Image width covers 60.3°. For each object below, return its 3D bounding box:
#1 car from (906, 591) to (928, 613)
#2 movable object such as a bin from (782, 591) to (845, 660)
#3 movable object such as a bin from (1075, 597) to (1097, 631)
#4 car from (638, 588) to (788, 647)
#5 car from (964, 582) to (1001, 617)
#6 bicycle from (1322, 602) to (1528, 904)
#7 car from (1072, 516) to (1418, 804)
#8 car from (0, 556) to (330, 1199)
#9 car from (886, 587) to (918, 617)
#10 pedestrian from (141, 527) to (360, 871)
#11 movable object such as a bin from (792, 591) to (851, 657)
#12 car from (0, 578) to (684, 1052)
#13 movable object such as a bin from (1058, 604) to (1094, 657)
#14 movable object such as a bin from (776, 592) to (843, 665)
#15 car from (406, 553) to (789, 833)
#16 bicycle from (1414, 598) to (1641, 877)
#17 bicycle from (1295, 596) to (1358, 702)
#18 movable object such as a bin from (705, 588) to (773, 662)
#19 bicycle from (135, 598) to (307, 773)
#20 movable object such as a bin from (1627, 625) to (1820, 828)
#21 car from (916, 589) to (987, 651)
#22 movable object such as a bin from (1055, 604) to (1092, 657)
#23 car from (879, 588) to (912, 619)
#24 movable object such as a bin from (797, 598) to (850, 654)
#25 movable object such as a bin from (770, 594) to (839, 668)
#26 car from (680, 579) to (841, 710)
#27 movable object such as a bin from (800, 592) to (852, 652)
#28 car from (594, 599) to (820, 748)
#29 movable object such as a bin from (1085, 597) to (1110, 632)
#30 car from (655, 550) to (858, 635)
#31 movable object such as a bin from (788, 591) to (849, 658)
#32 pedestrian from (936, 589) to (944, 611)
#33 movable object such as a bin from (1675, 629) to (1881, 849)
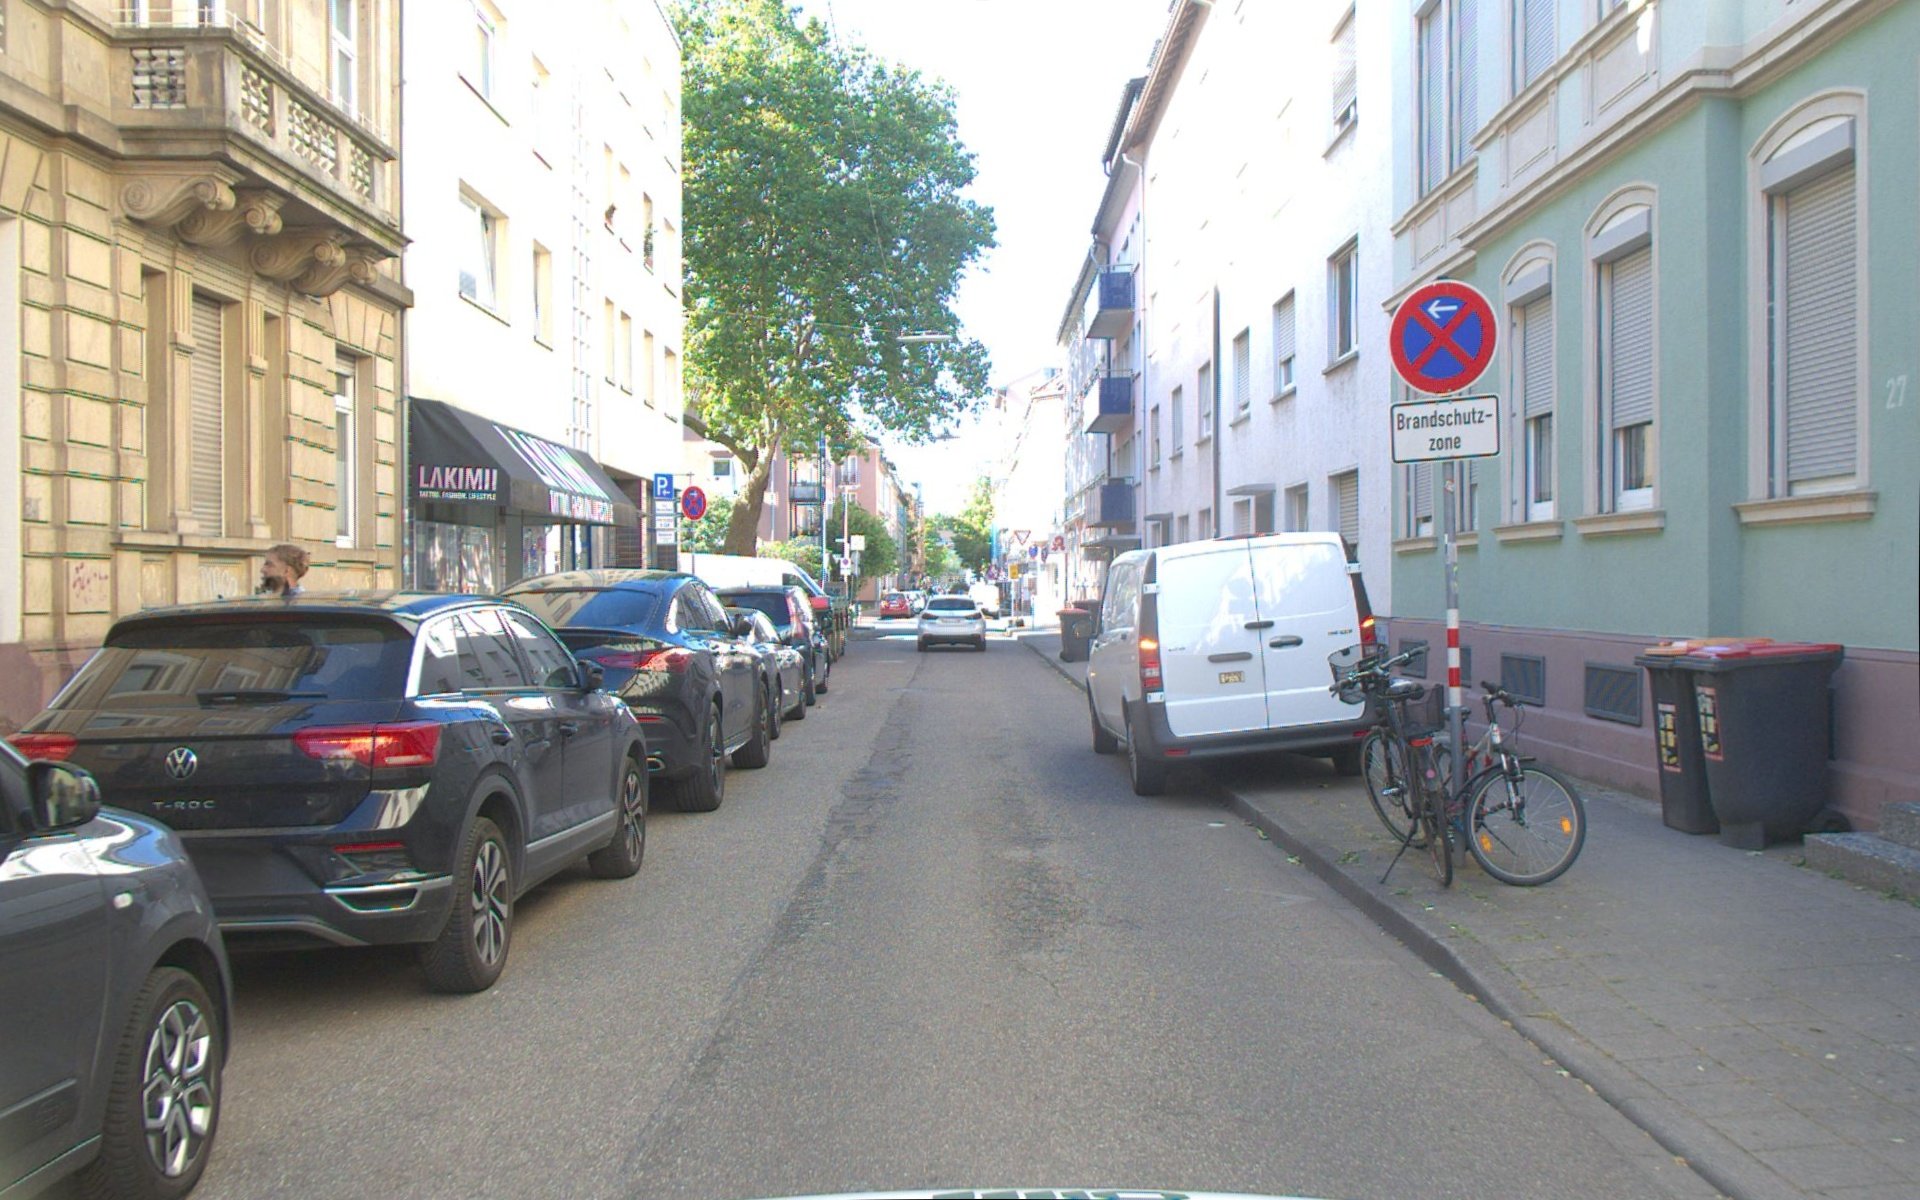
[{"bbox_3d":[-3.286,0.162,126.312,1.540,1.613,3.611,-1,0,1],"label":"car"},{"bbox_3d":[-3.254,0.572,36.897,1.321,1.513,1.003,0,-1,0],"label":"movable object such as a bin"},{"bbox_3d":[4.172,0.464,54.744,0.687,1.092,0.596,-1,-1,2],"label":"movable object such as a bin"},{"bbox_3d":[-6.647,0.472,44.830,3.796,1.531,1.826,0,0,-1],"label":"car"},{"bbox_3d":[1.302,-0.027,97.325,1.903,1.982,4.076,1,0,-2],"label":"car"},{"bbox_3d":[2.362,0.701,8.647,0.563,1.344,2.200,-1,0,4],"label":"bicycle"},{"bbox_3d":[2.227,0.401,14.609,1.943,1.916,5.599,-4,0,0],"label":"car"},{"bbox_3d":[-2.669,0.715,2.978,1.582,1.581,3.977,-1,0,-1],"label":"car"},{"bbox_3d":[-3.481,0.121,99.691,1.685,1.712,3.726,-1,0,1],"label":"car"},{"bbox_3d":[-4.034,0.543,9.468,0.848,1.868,0.884,-1,-1,1],"label":"pedestrian"},{"bbox_3d":[-3.254,0.565,39.002,1.307,1.517,1.082,0,-1,0],"label":"movable object such as a bin"},{"bbox_3d":[-2.568,0.716,7.745,1.678,1.558,4.368,-1,0,1],"label":"car"},{"bbox_3d":[2.419,0.630,34.557,0.717,1.099,0.703,-1,-1,1],"label":"movable object such as a bin"},{"bbox_3d":[-3.245,0.617,35.853,1.307,1.510,1.093,-2,-1,0],"label":"movable object such as a bin"},{"bbox_3d":[-2.608,0.588,13.264,1.896,1.766,5.142,-1,0,0],"label":"car"},{"bbox_3d":[3.001,0.655,8.972,0.563,1.293,2.200,-2,0,4],"label":"bicycle"},{"bbox_3d":[4.481,0.572,20.330,0.396,1.227,2.160,-1,0,3],"label":"bicycle"},{"bbox_3d":[-4.622,0.516,34.679,1.270,1.524,1.178,0,-1,0],"label":"movable object such as a bin"},{"bbox_3d":[-5.878,0.646,13.270,0.500,1.299,1.867,-1,0,1],"label":"bicycle"},{"bbox_3d":[4.367,0.707,9.501,0.795,1.107,0.674,-1,-1,2],"label":"movable object such as a bin"},{"bbox_3d":[-0.232,0.496,43.931,1.786,1.540,3.823,-1,0,-1],"label":"car"},{"bbox_3d":[2.411,0.641,35.271,0.752,1.105,0.693,-1,-1,1],"label":"movable object such as a bin"},{"bbox_3d":[-3.664,0.187,94.092,1.734,1.616,3.726,-1,1,-1],"label":"car"},{"bbox_3d":[-3.301,0.625,40.092,1.215,1.345,1.045,0,-1,0],"label":"movable object such as a bin"},{"bbox_3d":[-3.247,0.636,34.679,1.292,1.476,1.187,-2,-1,0],"label":"movable object such as a bin"},{"bbox_3d":[-2.836,0.583,24.442,1.746,1.696,4.670,-2,0,0],"label":"car"},{"bbox_3d":[-3.331,0.537,41.191,1.274,1.476,1.117,0,-1,-4],"label":"movable object such as a bin"},{"bbox_3d":[-2.751,0.751,19.061,1.807,1.441,4.817,-2,0,0],"label":"car"},{"bbox_3d":[4.376,0.464,52.799,0.715,1.123,0.693,-1,-1,-2],"label":"movable object such as a bin"},{"bbox_3d":[-6.999,-0.252,57.323,6.600,2.599,2.146,3,0,1],"label":"car"},{"bbox_3d":[-3.236,0.553,37.933,1.316,1.525,1.018,0,-1,0],"label":"movable object such as a bin"},{"bbox_3d":[-1.694,0.016,141.024,0.634,1.828,0.639,-1,-1,1],"label":"pedestrian"},{"bbox_3d":[4.345,0.723,8.829,0.780,1.115,0.642,-1,-1,2],"label":"movable object such as a bin"}]
